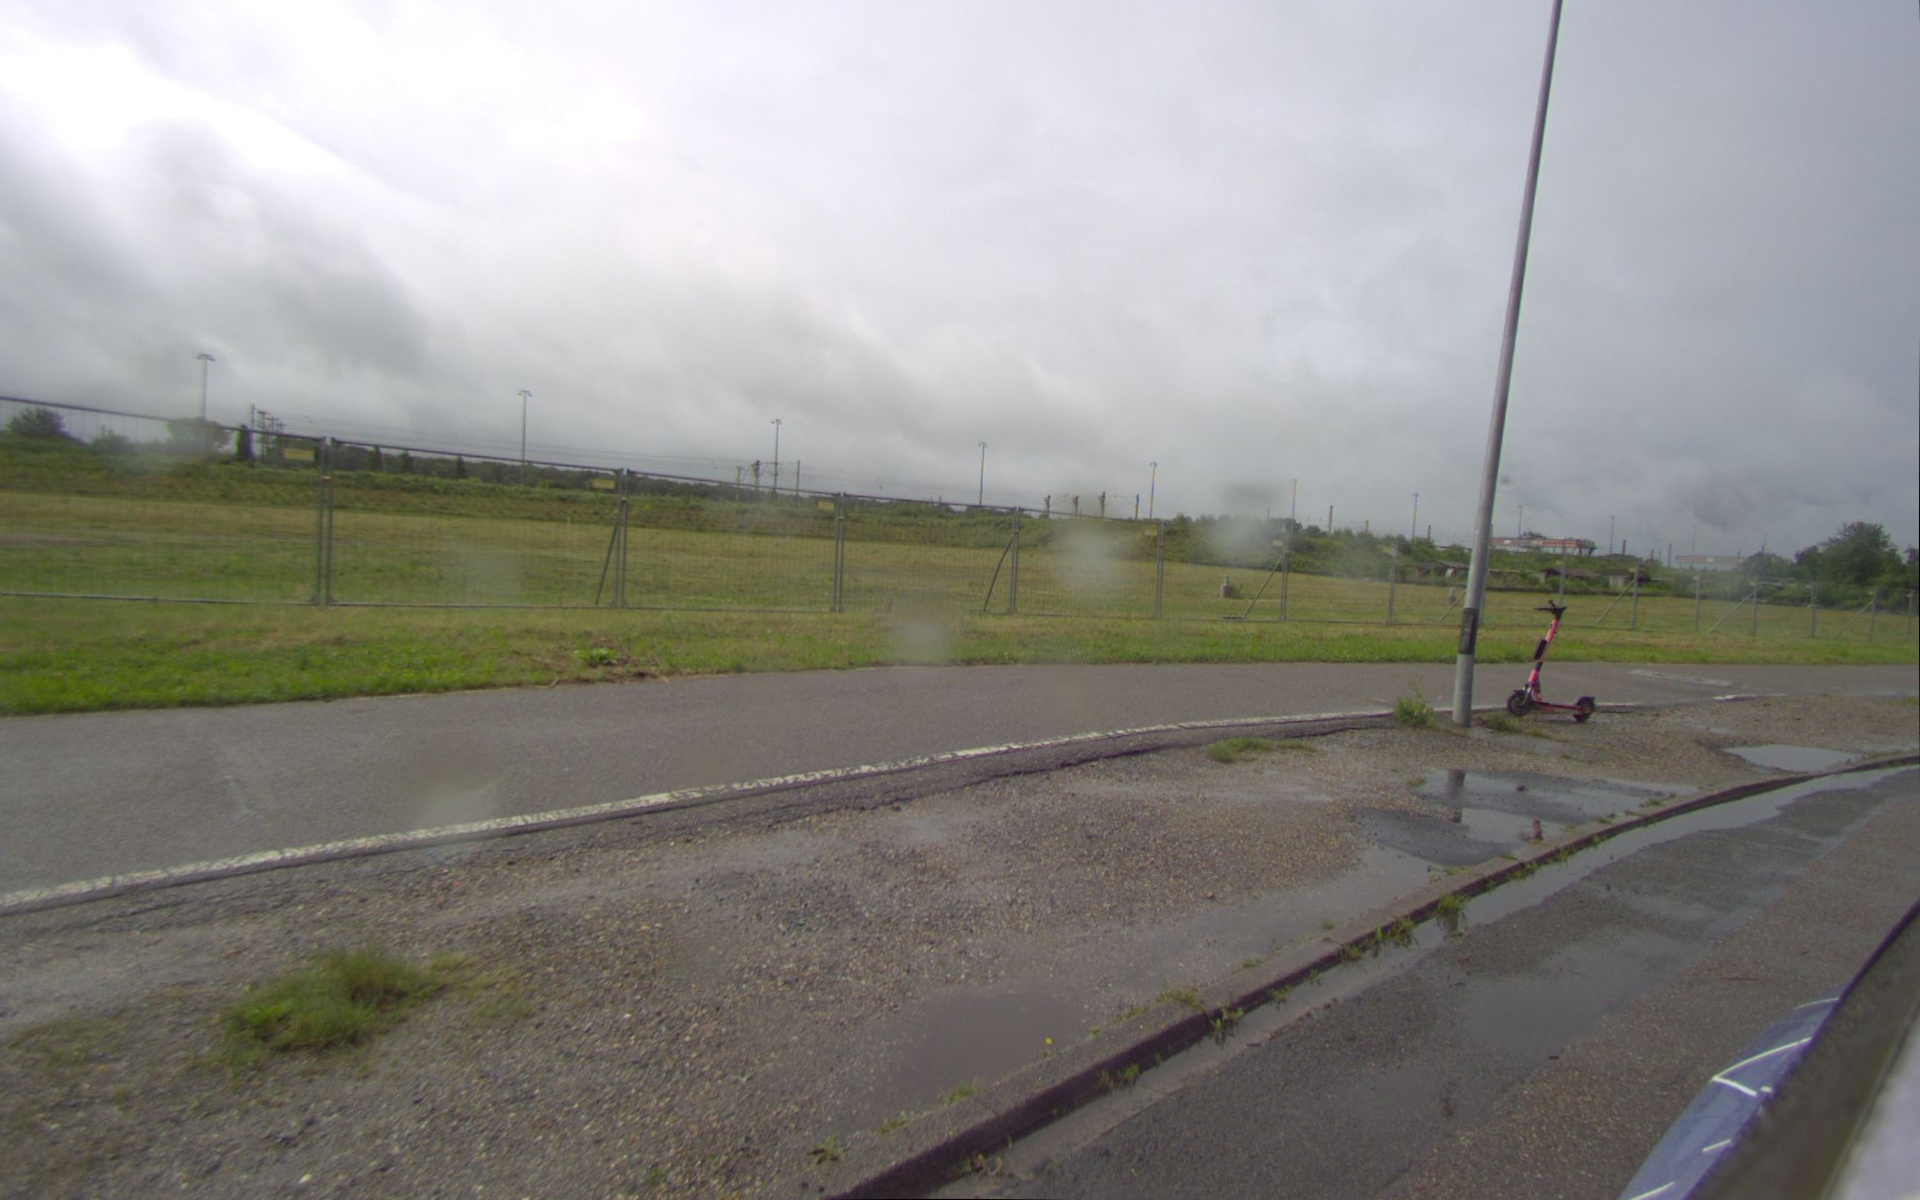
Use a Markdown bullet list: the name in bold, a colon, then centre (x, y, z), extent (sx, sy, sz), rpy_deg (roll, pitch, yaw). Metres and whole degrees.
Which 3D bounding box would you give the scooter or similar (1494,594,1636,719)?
- **scooter or similar**: centre (6.326, 0.586, 10.586), extent (1.312, 1.229, 0.494), rpy_deg (2, 3, -21)
